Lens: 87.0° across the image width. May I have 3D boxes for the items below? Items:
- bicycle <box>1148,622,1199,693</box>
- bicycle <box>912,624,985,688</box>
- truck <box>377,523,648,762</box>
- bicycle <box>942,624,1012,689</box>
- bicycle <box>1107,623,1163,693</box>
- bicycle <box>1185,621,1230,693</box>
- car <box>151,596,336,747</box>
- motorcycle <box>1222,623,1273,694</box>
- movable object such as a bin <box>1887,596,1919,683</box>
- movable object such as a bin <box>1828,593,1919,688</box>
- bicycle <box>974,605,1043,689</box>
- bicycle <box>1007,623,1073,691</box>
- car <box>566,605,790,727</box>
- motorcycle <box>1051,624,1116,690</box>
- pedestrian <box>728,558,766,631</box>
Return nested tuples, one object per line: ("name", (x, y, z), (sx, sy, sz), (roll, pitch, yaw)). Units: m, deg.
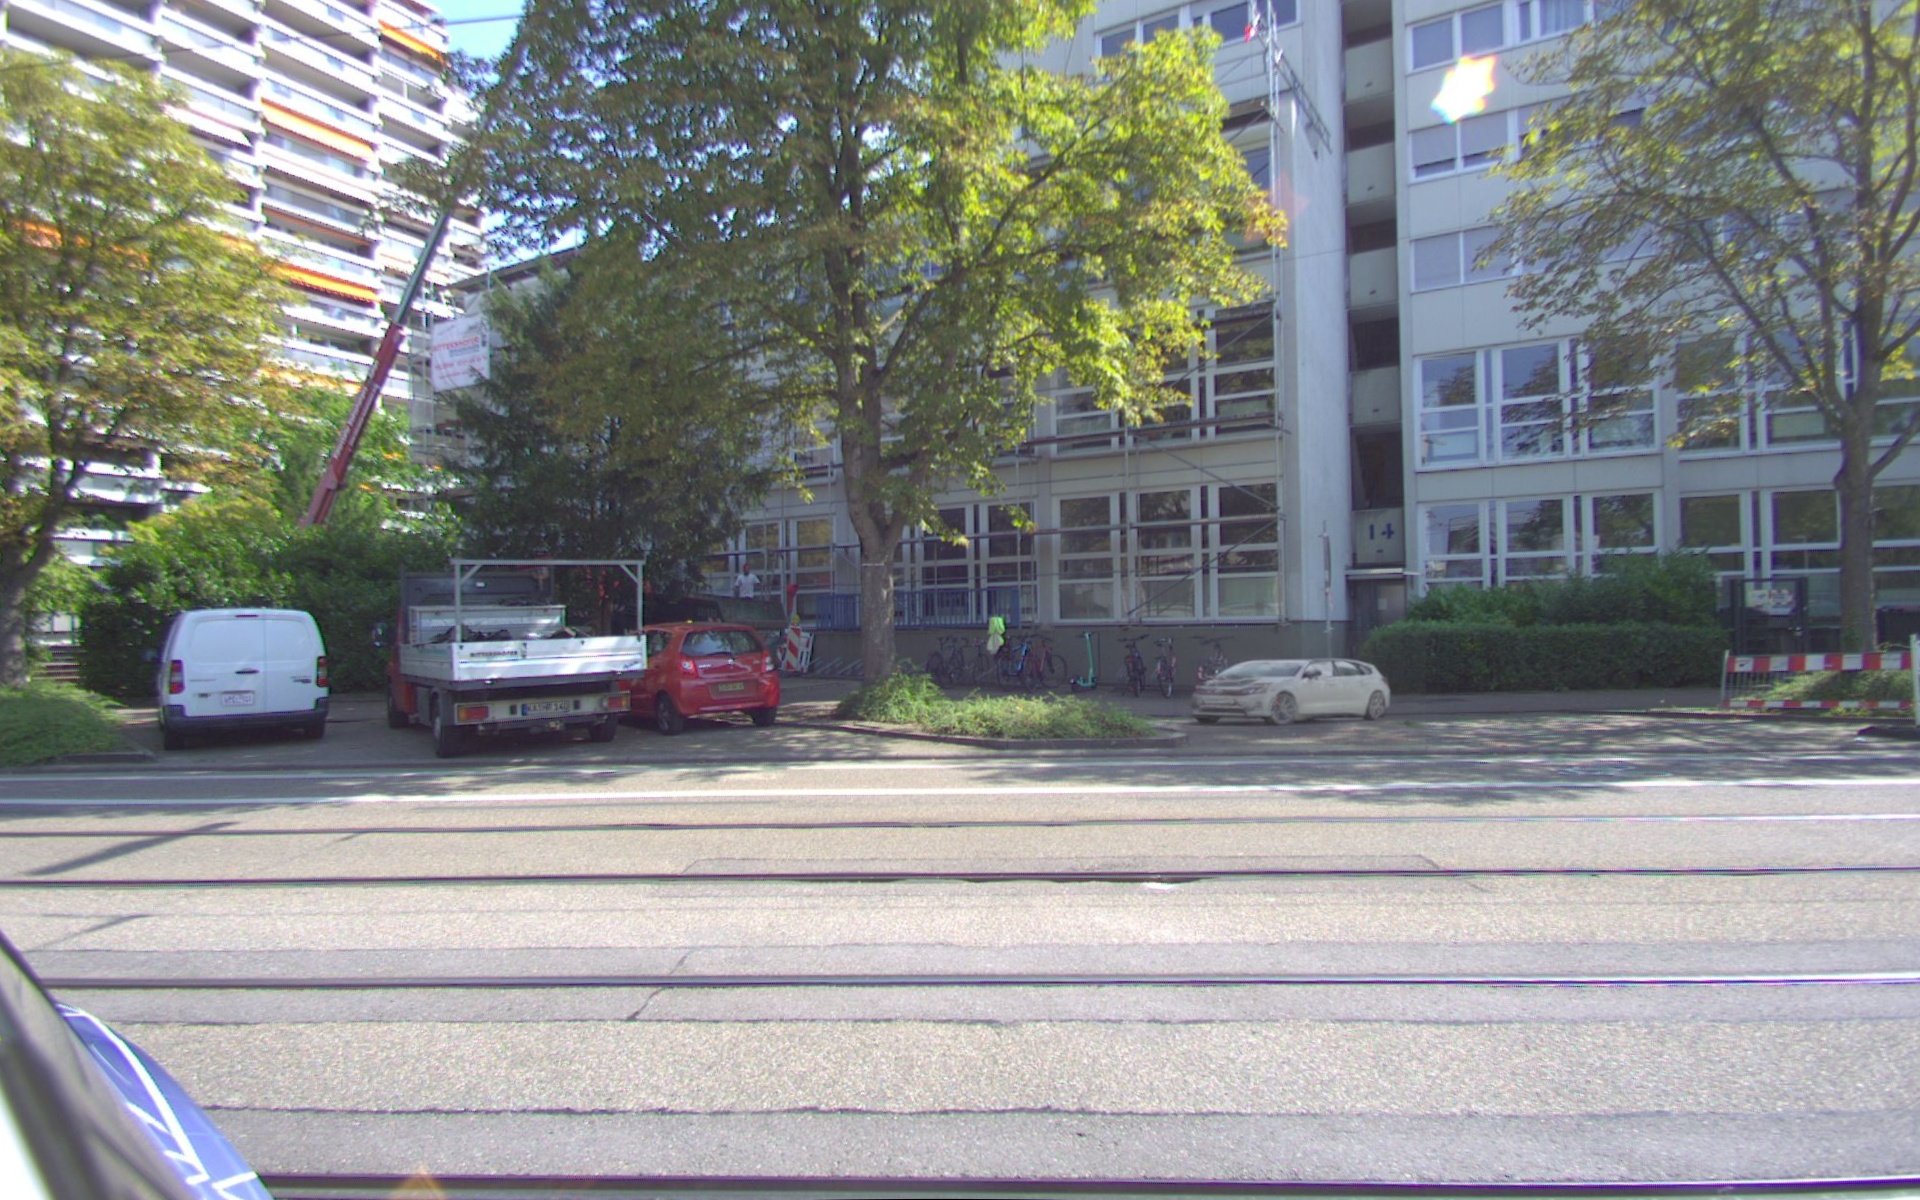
("bicycle", (4.027, 1.041, 18.949), (0.617, 1.178, 2.331), (-1, 0, 20))
("bicycle", (-0.199, 1.107, 20.657), (0.598, 1.168, 2.328), (-1, 0, 22))
("truck", (-6.173, 0.516, 13.426), (2.115, 2.453, 5.983), (1, -2, -36))
("bicycle", (0.375, 1.096, 20.399), (0.598, 1.168, 2.328), (-1, 0, 22))
("bicycle", (3.348, 1.067, 19.187), (0.617, 1.178, 2.330), (-1, 0, 20))
("bicycle", (4.583, 1.003, 18.644), (0.558, 1.178, 2.331), (-1, 0, 19))
("car", (-10.200, 0.934, 14.271), (1.796, 1.785, 4.292), (1, -3, -40))
("motorcycle", (5.295, 1.042, 18.583), (0.691, 1.191, 1.831), (-1, 0, 22))
("movable object such as a bin", (17.957, 0.696, 17.975), (1.336, 1.571, 1.687), (-1, -2, 2))
("movable object such as a bin", (16.523, 0.698, 17.604), (1.336, 1.571, 1.687), (-1, -2, 2))
("bicycle", (0.997, 0.893, 20.145), (0.598, 1.537, 2.328), (-1, 0, 22))
("bicycle", (1.605, 1.082, 19.883), (0.598, 1.178, 2.328), (-1, 0, 22))
("car", (-4.198, 0.913, 14.690), (1.694, 1.519, 3.866), (1, -3, -40))
("motorcycle", (2.437, 1.072, 19.754), (0.739, 1.163, 1.991), (-1, 0, 22))
("pedestrian", (-5.373, -0.124, 25.525), (0.727, 1.801, 0.832), (0, -2, -27))
